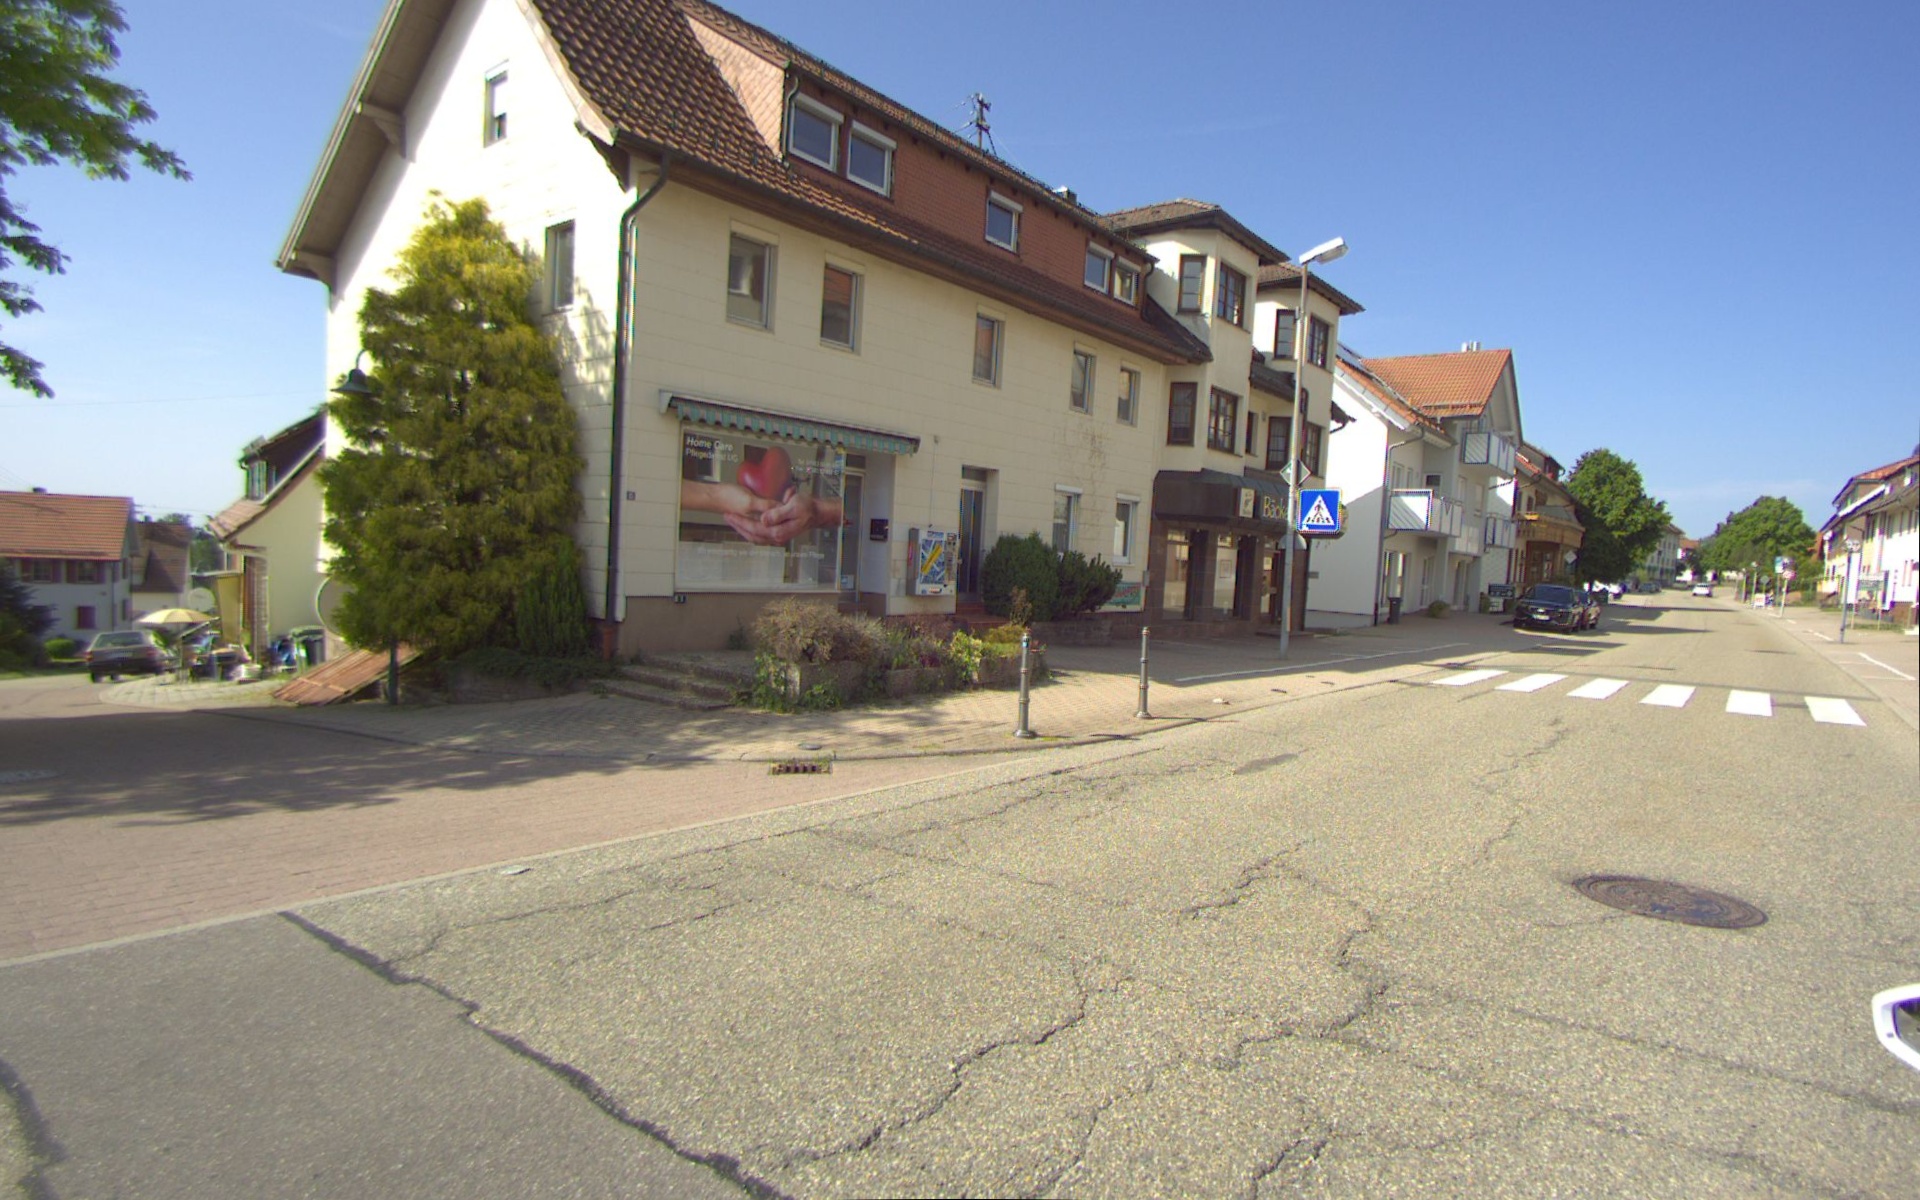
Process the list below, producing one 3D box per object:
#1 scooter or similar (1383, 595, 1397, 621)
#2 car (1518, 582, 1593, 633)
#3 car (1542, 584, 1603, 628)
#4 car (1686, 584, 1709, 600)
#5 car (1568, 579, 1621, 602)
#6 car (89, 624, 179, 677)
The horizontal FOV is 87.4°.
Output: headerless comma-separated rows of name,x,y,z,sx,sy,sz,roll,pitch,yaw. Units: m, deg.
scooter or similar,15.038,0.284,35.117,0.346,0.902,0.393,2,2,34
car,21.793,0.251,36.731,1.653,1.553,3.518,10,6,39
car,24.984,0.230,40.940,1.650,1.696,3.295,2,1,40
car,100.633,-1.069,137.062,2.464,2.041,4.287,2,1,37
car,57.957,-0.887,91.854,3.927,2.041,1.996,1,2,29
car,-25.330,1.517,30.923,1.745,1.484,3.963,0,-2,-34
